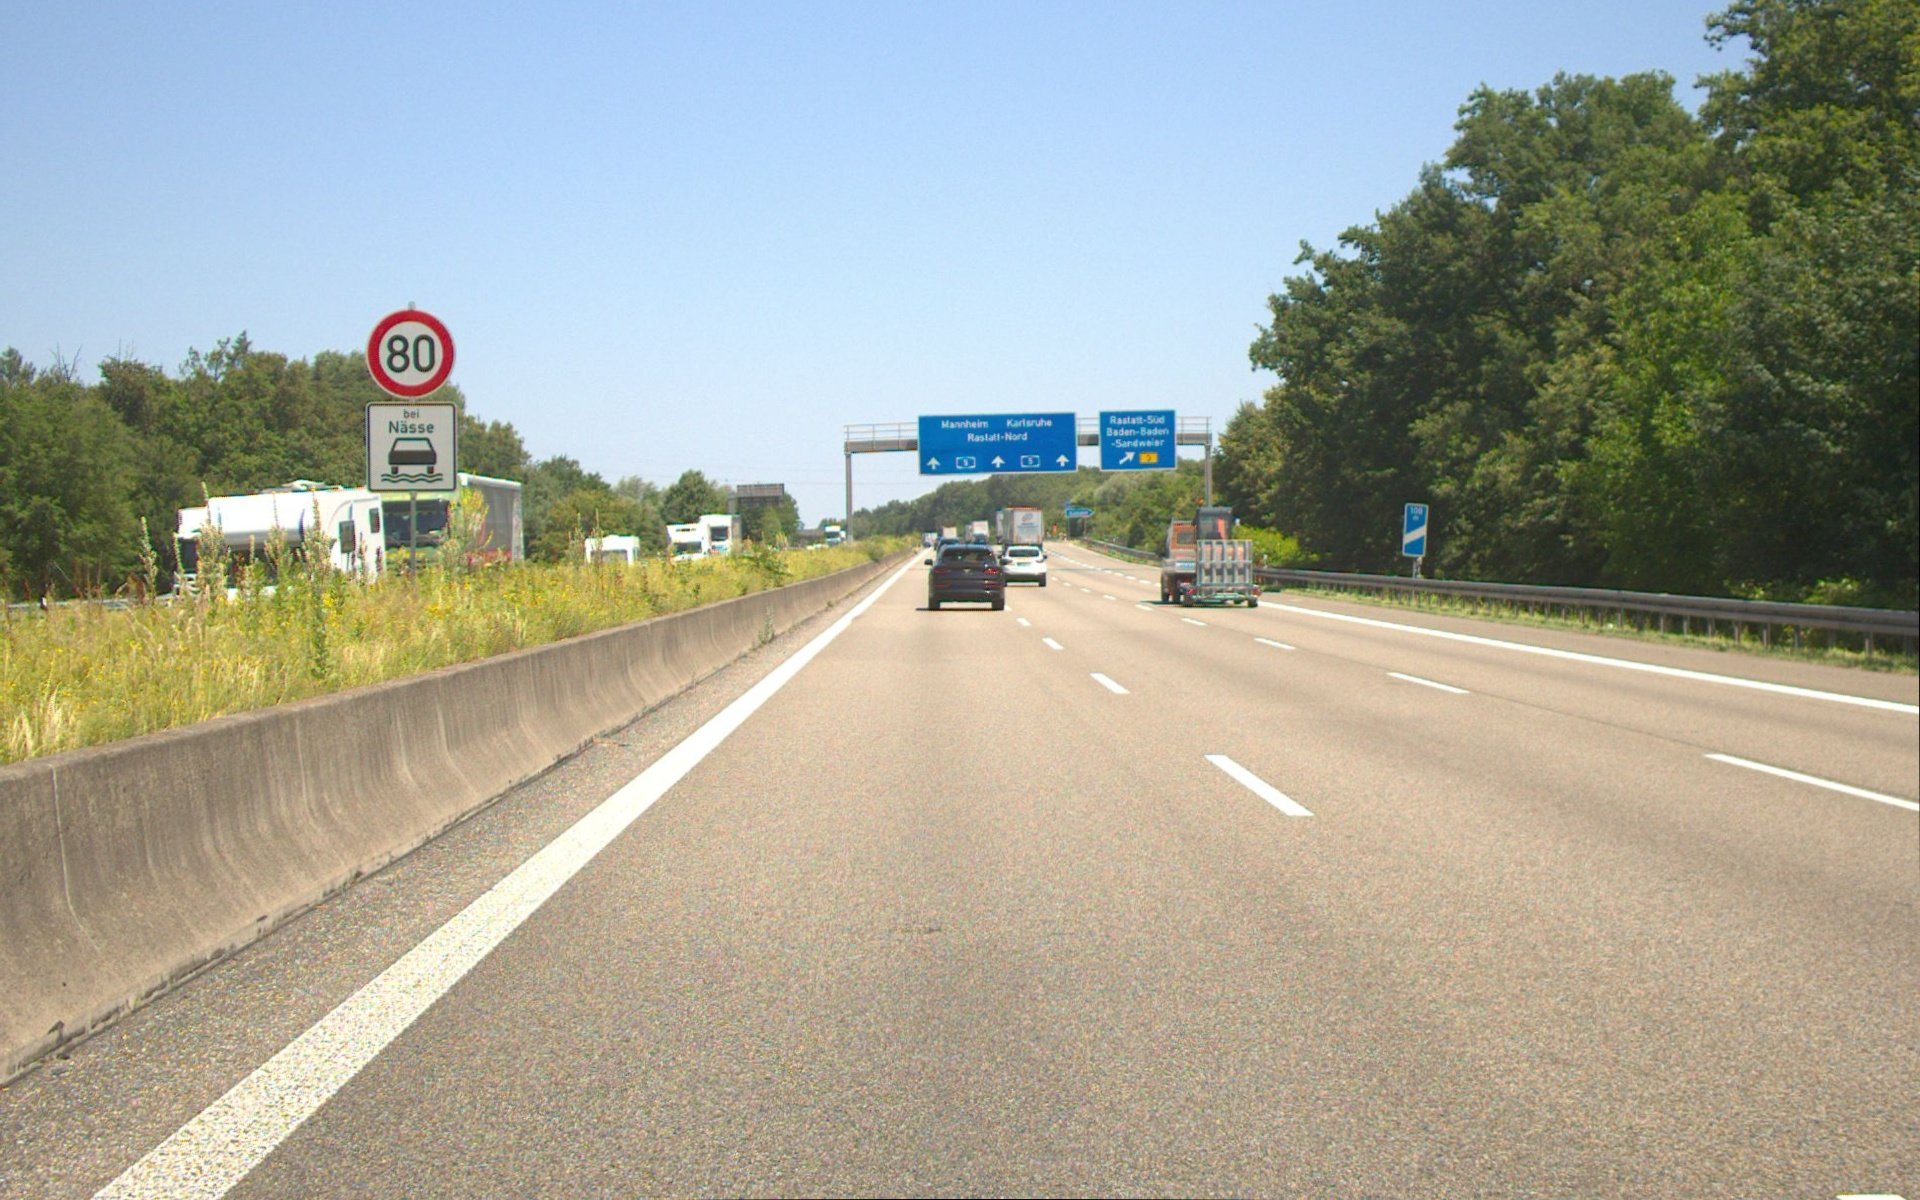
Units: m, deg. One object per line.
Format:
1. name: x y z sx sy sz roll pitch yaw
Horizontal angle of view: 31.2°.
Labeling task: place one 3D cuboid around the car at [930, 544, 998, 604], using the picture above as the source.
1. car: 0.093 -0.684 90.701 1.660 1.544 3.783 0 0 -2

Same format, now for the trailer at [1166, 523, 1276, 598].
1. trailer: 7.127 -1.117 94.507 2.420 2.007 6.034 0 1 -2

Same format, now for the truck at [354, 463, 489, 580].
1. truck: -14.398 -2.094 92.388 2.606 2.998 6.972 -1 1 -1

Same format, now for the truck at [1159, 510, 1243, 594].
1. truck: 6.977 -1.416 99.865 1.993 2.365 4.645 0 1 -2

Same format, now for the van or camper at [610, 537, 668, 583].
1. van or camper: -14.422 -1.786 154.619 2.221 2.007 5.888 0 1 -2

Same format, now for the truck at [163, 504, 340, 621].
1. truck: -18.929 -1.055 92.512 2.687 2.932 10.487 -1 1 -1

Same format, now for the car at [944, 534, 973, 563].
1. car: -0.128 -3.708 248.460 1.993 2.007 4.000 -2 1 -1

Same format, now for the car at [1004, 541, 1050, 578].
1. car: 2.730 -1.679 140.774 1.740 1.481 4.000 0 1 -1

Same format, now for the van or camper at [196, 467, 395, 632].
1. van or camper: -13.322 -1.043 69.494 2.507 3.144 7.534 0 1 0
